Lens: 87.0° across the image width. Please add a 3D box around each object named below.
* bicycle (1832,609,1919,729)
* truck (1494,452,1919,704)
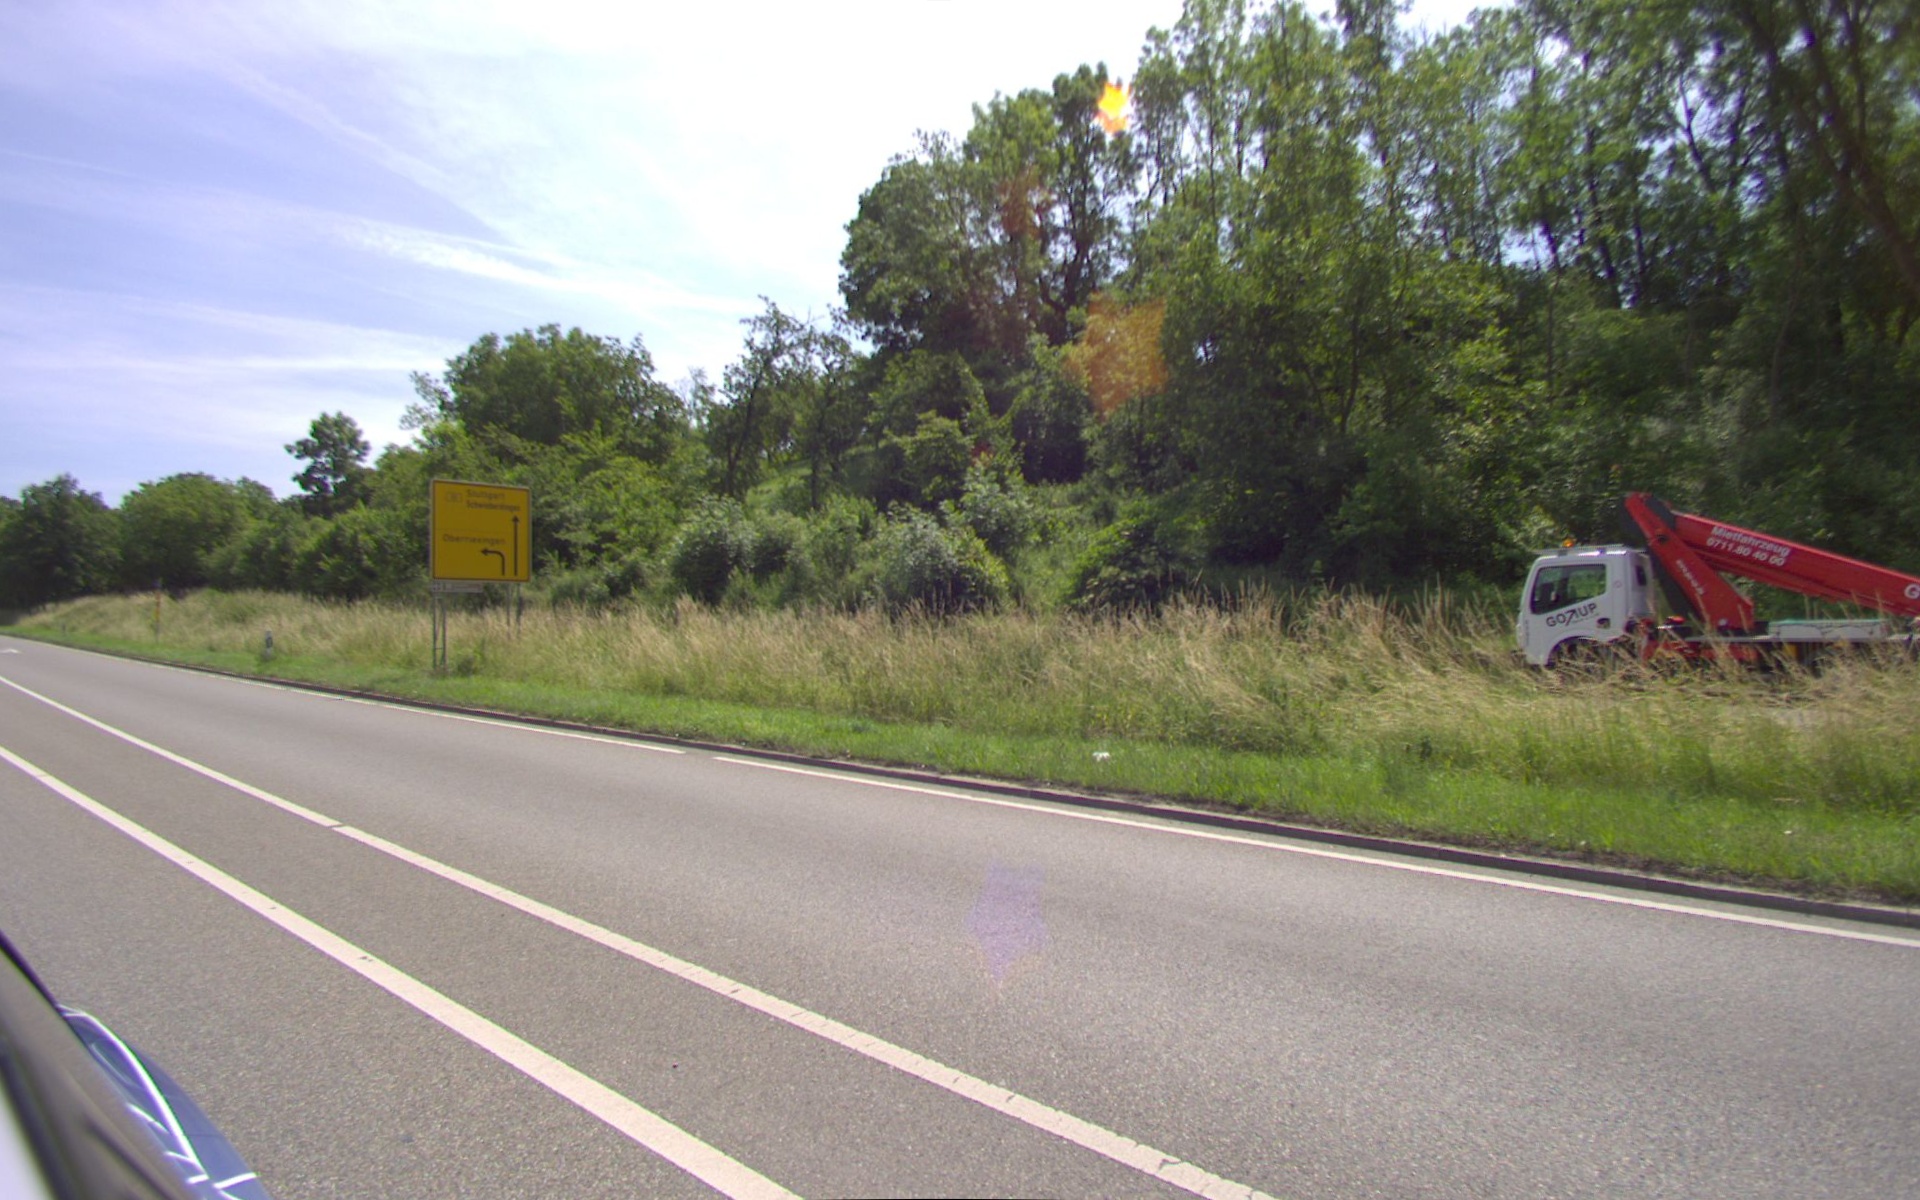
[{"bbox_3d":[10.491,0.712,10.523,2.105,1.221,0.740,-2,0,43],"label":"bicycle"},{"bbox_3d":[11.186,-0.251,13.568,6.775,2.986,2.004,-2,0,44],"label":"truck"}]
